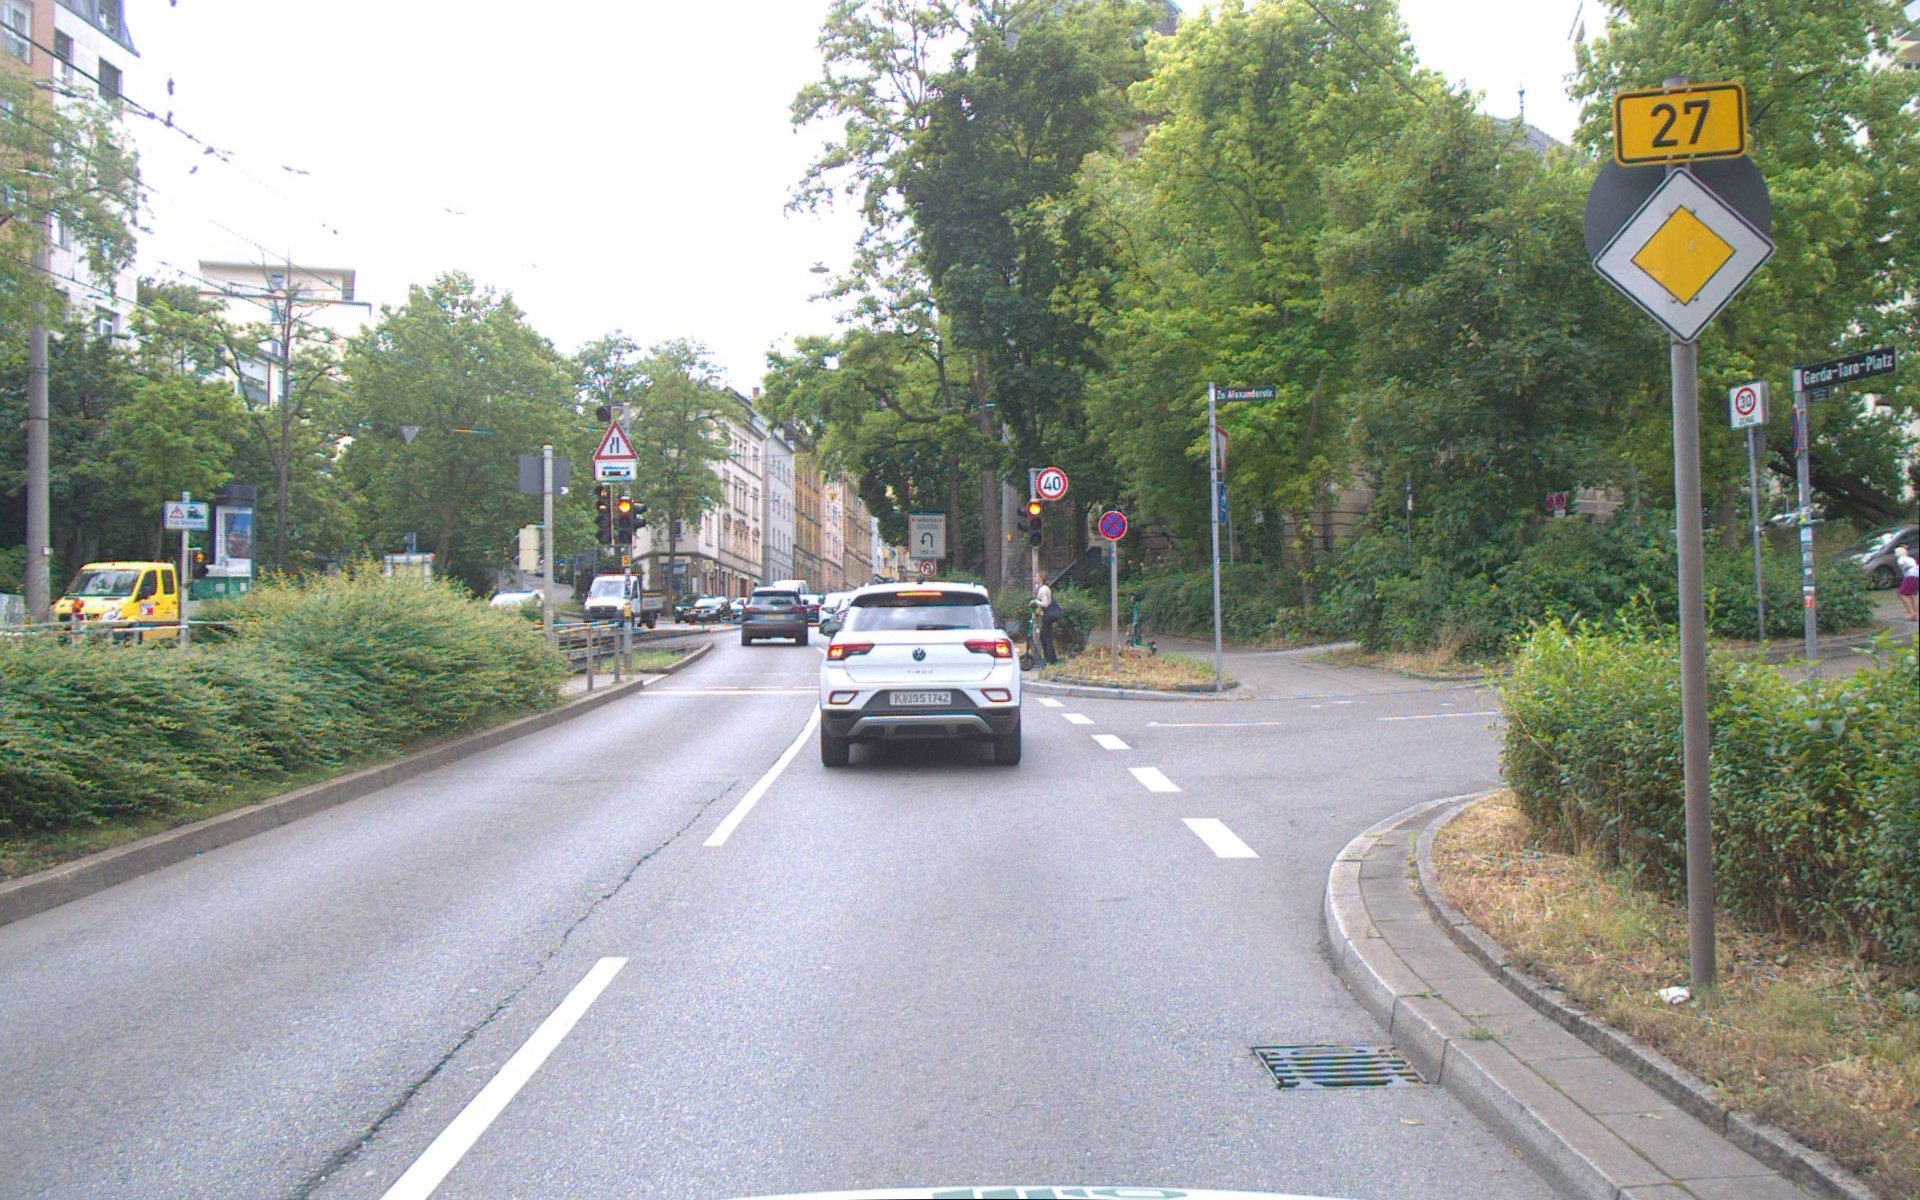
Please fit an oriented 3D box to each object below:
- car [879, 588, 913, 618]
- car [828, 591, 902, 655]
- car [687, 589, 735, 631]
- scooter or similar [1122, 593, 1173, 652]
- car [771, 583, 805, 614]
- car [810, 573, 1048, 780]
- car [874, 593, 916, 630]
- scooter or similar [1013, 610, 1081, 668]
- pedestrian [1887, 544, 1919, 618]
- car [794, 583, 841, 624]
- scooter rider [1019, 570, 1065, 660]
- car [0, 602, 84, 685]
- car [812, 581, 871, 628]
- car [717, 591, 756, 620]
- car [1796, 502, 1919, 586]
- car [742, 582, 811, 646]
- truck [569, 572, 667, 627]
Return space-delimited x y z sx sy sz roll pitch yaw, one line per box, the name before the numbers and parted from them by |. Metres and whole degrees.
car | -4.826 0.236 125.628 2.372 2.207 6.033 -1 0 0
car | -2.661 0.678 45.763 1.866 1.602 3.829 2 -2 -5
car | -13.250 0.550 88.183 1.953 2.049 3.998 2 -2 -1
scooter or similar | 3.716 0.440 32.825 0.466 1.119 1.362 -1 0 -18
car | -11.852 -0.092 114.241 1.953 2.049 3.999 -1 0 -1
car | -0.376 0.588 15.525 1.900 1.593 4.043 -2 1 -4
car | -4.076 0.717 104.222 2.372 2.207 6.033 -1 0 0
scooter or similar | 1.565 0.697 29.856 1.163 1.011 0.531 -2 0 -1
pedestrian | 19.858 -0.390 34.522 0.551 1.526 0.672 -1 0 -27
car | -6.490 0.150 75.708 1.789 1.788 3.779 2 0 -1
scooter rider | 1.479 0.265 29.840 0.762 1.585 0.532 -2 0 -2
car | -16.565 0.720 27.745 1.705 1.346 4.064 0 0 -2
car | -4.376 0.166 61.489 1.953 1.651 3.999 -1 0 -2
car | -14.579 0.366 108.061 1.953 1.652 3.998 2 -2 -1
car | 24.123 -1.444 42.771 4.052 2.049 1.996 -1 0 -8
car | -5.343 0.368 48.596 1.803 1.770 3.998 0 1 -3
truck | -14.634 -0.033 71.216 2.370 2.207 6.037 2 0 6
